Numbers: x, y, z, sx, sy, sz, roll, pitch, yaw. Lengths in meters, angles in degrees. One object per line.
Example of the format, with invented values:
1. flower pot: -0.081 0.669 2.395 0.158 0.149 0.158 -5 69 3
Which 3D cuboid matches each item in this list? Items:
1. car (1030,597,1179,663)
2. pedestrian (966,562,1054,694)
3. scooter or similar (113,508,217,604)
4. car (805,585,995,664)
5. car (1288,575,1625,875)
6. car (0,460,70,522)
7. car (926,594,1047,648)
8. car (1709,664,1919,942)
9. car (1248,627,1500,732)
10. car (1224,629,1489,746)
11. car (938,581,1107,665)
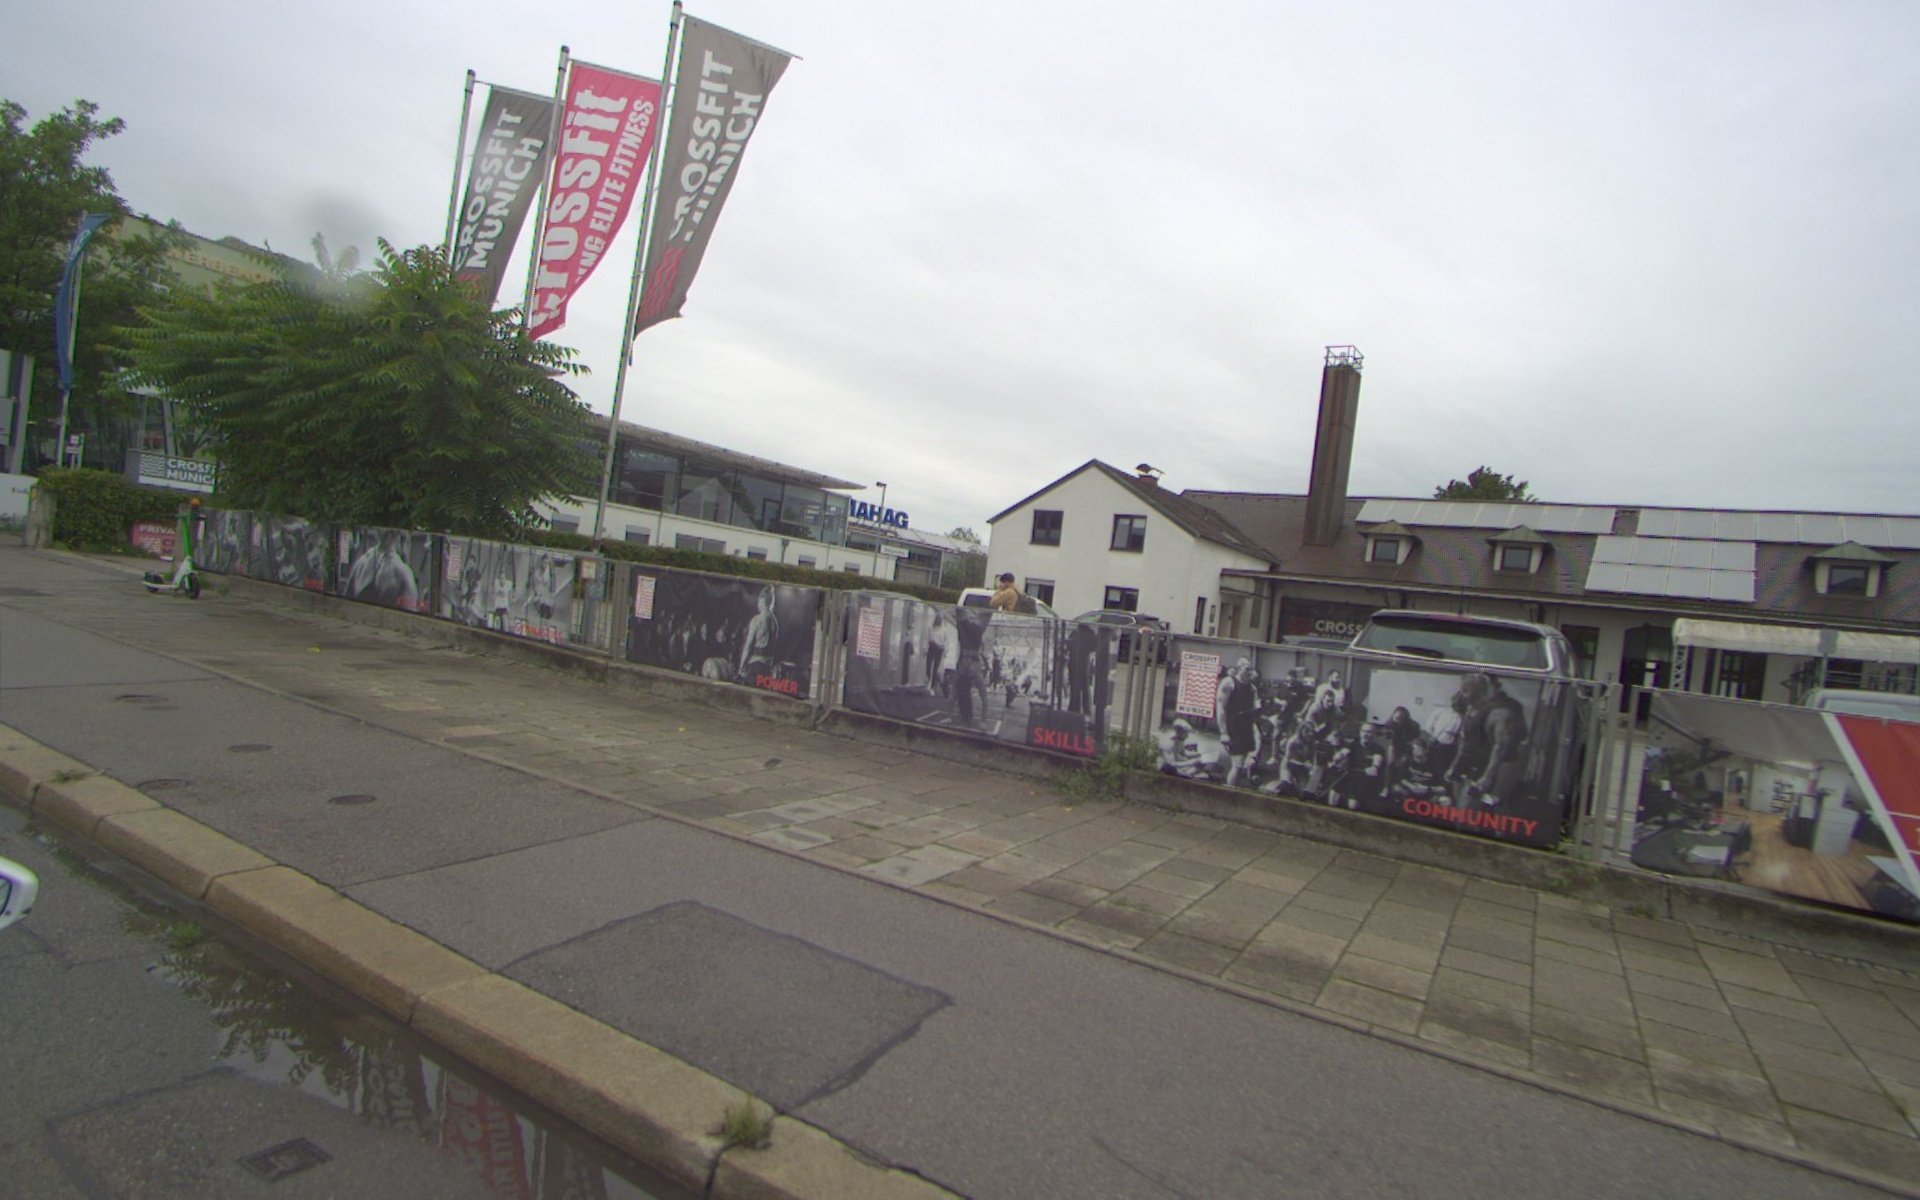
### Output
1. car: 4.974 1.015 34.913 4.615 1.689 1.920 7 0 36
2. pedestrian: 0.786 0.436 15.706 0.916 1.925 0.734 7 1 31
3. scooter or similar: -11.389 -0.639 14.396 1.610 1.239 0.397 6 3 23
4. car: -1.571 0.611 25.597 4.547 1.404 1.921 7 0 36
5. car: 4.418 0.939 8.583 1.896 1.747 4.100 7 -1 34
6. car: -35.268 -4.078 36.365 4.212 2.040 1.947 5 1 -31
7. car: 0.985 0.786 38.496 4.156 1.513 1.922 7 0 34
8. car: 6.767 1.368 7.175 1.896 1.467 4.100 7 -1 34
9. car: 8.667 1.630 21.261 4.471 1.530 1.920 7 0 39
10. car: 7.260 1.570 18.647 4.054 1.511 1.917 7 0 43
11. car: 1.821 0.660 30.152 4.615 1.927 1.920 7 0 36
